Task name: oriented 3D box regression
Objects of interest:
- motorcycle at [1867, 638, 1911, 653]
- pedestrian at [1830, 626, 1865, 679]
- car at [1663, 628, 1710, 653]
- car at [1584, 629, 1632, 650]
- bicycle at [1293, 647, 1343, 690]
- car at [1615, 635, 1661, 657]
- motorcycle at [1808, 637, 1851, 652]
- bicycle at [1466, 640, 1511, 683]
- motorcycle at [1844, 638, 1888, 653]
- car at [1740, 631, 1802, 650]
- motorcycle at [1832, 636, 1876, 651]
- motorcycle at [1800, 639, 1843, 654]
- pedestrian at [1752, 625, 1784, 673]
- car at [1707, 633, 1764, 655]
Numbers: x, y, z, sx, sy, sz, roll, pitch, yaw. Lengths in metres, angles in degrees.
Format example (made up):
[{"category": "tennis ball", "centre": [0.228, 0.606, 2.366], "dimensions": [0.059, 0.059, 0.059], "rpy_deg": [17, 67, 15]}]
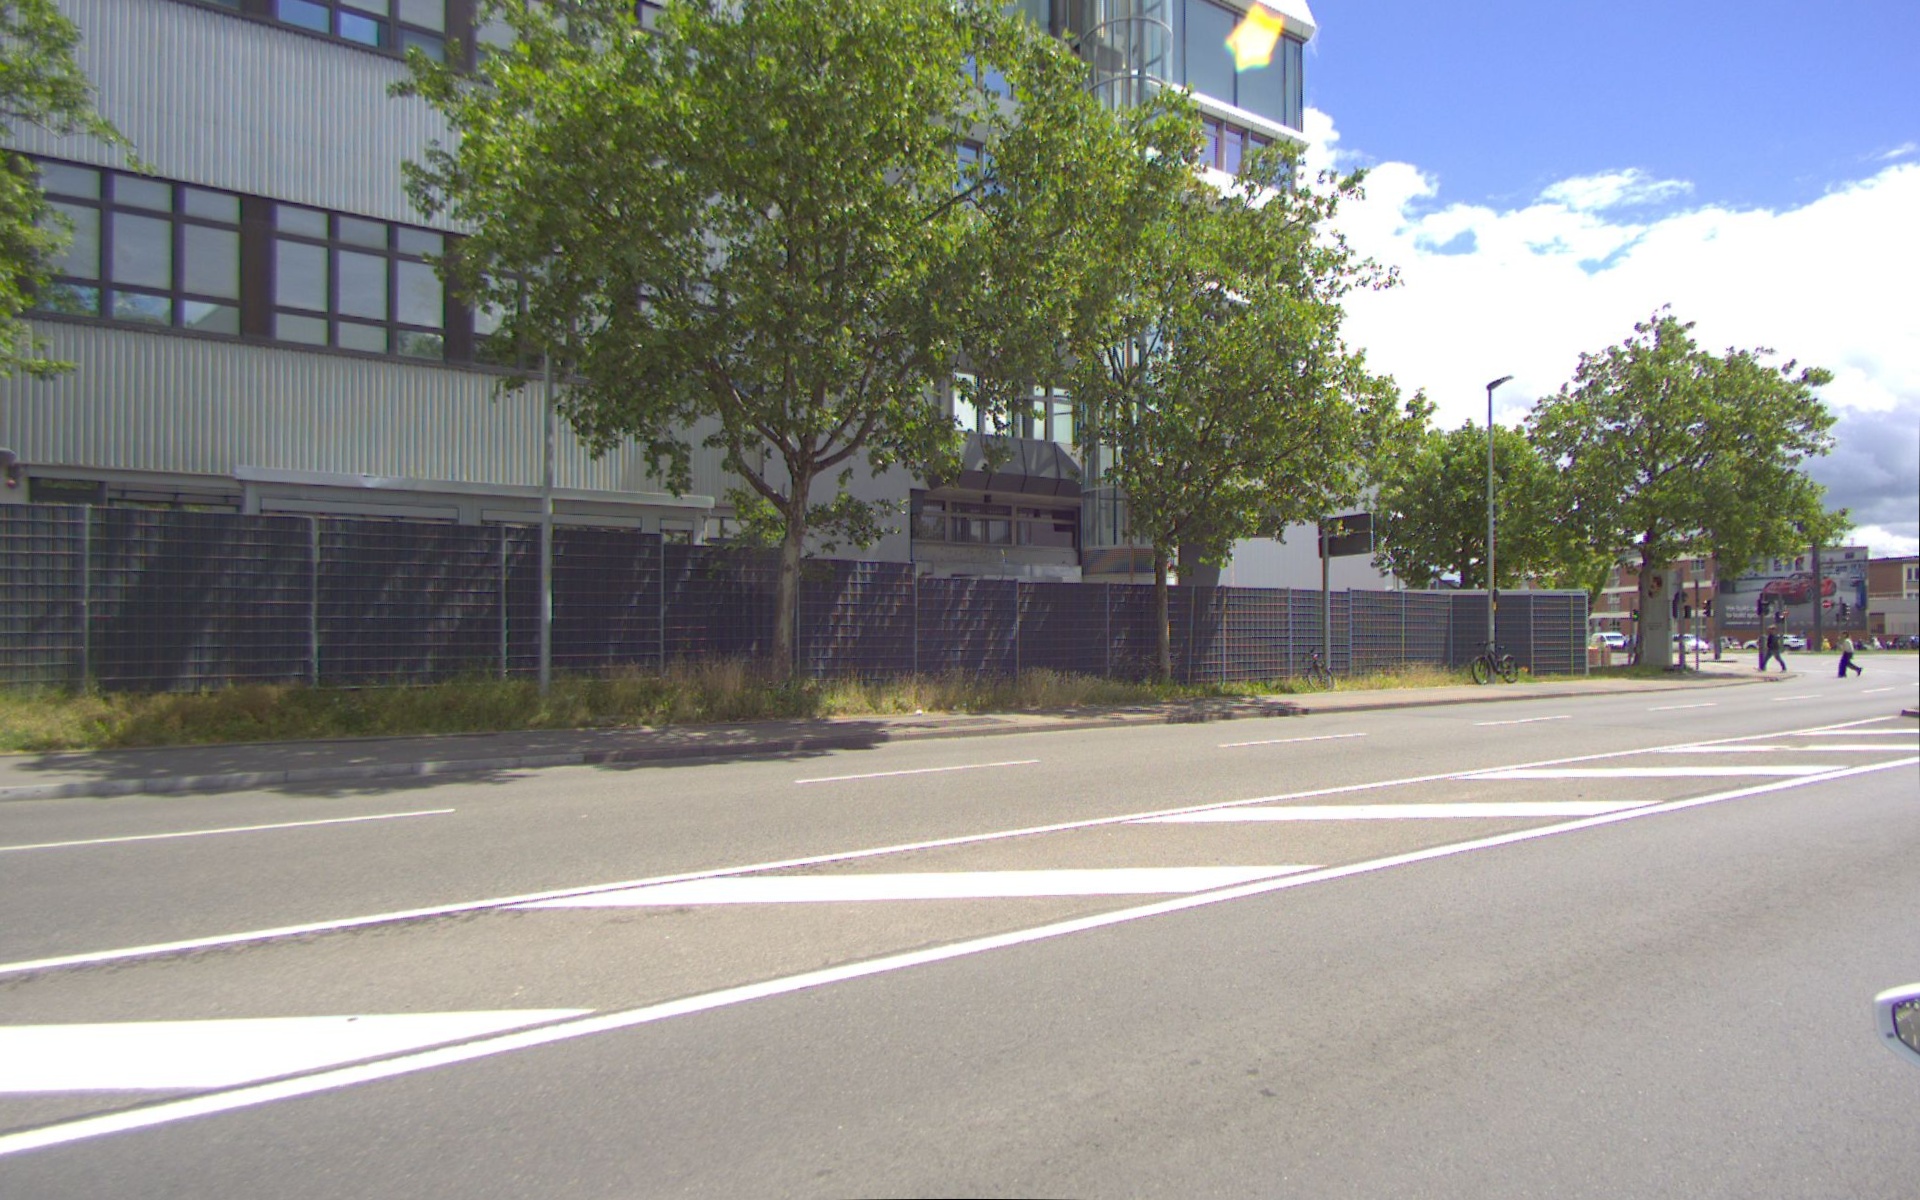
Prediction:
[{"category": "motorcycle", "centre": [82.952, 4.088, 89.699], "dimensions": [0.904, 1.211, 2.905], "rpy_deg": [2, -1, -13]}, {"category": "pedestrian", "centre": [31.403, 1.846, 35.544], "dimensions": [0.854, 1.797, 1.029], "rpy_deg": [1, -1, 45]}, {"category": "car", "centre": [58.053, 3.201, 80.317], "dimensions": [1.874, 1.820, 3.777], "rpy_deg": [2, -1, 16]}, {"category": "car", "centre": [55.093, 3.336, 85.460], "dimensions": [1.959, 1.645, 4.294], "rpy_deg": [2, -1, 12]}, {"category": "bicycle", "centre": [8.616, 1.653, 24.170], "dimensions": [1.234, 1.019, 0.296], "rpy_deg": [2, 0, -22]}, {"category": "car", "centre": [53.991, 3.673, 80.025], "dimensions": [1.767, 1.577, 3.960], "rpy_deg": [2, -1, 14]}, {"category": "motorcycle", "centre": [77.168, 3.929, 89.177], "dimensions": [0.904, 1.211, 2.905], "rpy_deg": [2, -1, -13]}, {"category": "bicycle", "centre": [14.271, 1.656, 27.107], "dimensions": [1.467, 1.146, 0.295], "rpy_deg": [2, 0, -29]}, {"category": "motorcycle", "centre": [80.410, 4.032, 89.145], "dimensions": [0.904, 1.211, 2.905], "rpy_deg": [2, -1, -13]}, {"category": "car", "centre": [72.412, 3.625, 89.772], "dimensions": [1.965, 1.520, 3.992], "rpy_deg": [2, -1, -11]}, {"category": "motorcycle", "centre": [79.232, 3.818, 89.084], "dimensions": [0.904, 1.211, 2.905], "rpy_deg": [2, -1, -13]}, {"category": "motorcycle", "centre": [76.030, 4.071, 88.652], "dimensions": [0.904, 1.211, 2.905], "rpy_deg": [2, -1, -13]}, {"category": "pedestrian", "centre": [31.531, 1.895, 39.182], "dimensions": [0.854, 1.797, 1.029], "rpy_deg": [1, -1, 45]}, {"category": "car", "centre": [60.869, 3.428, 78.954], "dimensions": [1.959, 1.598, 4.003], "rpy_deg": [2, -1, 11]}]
